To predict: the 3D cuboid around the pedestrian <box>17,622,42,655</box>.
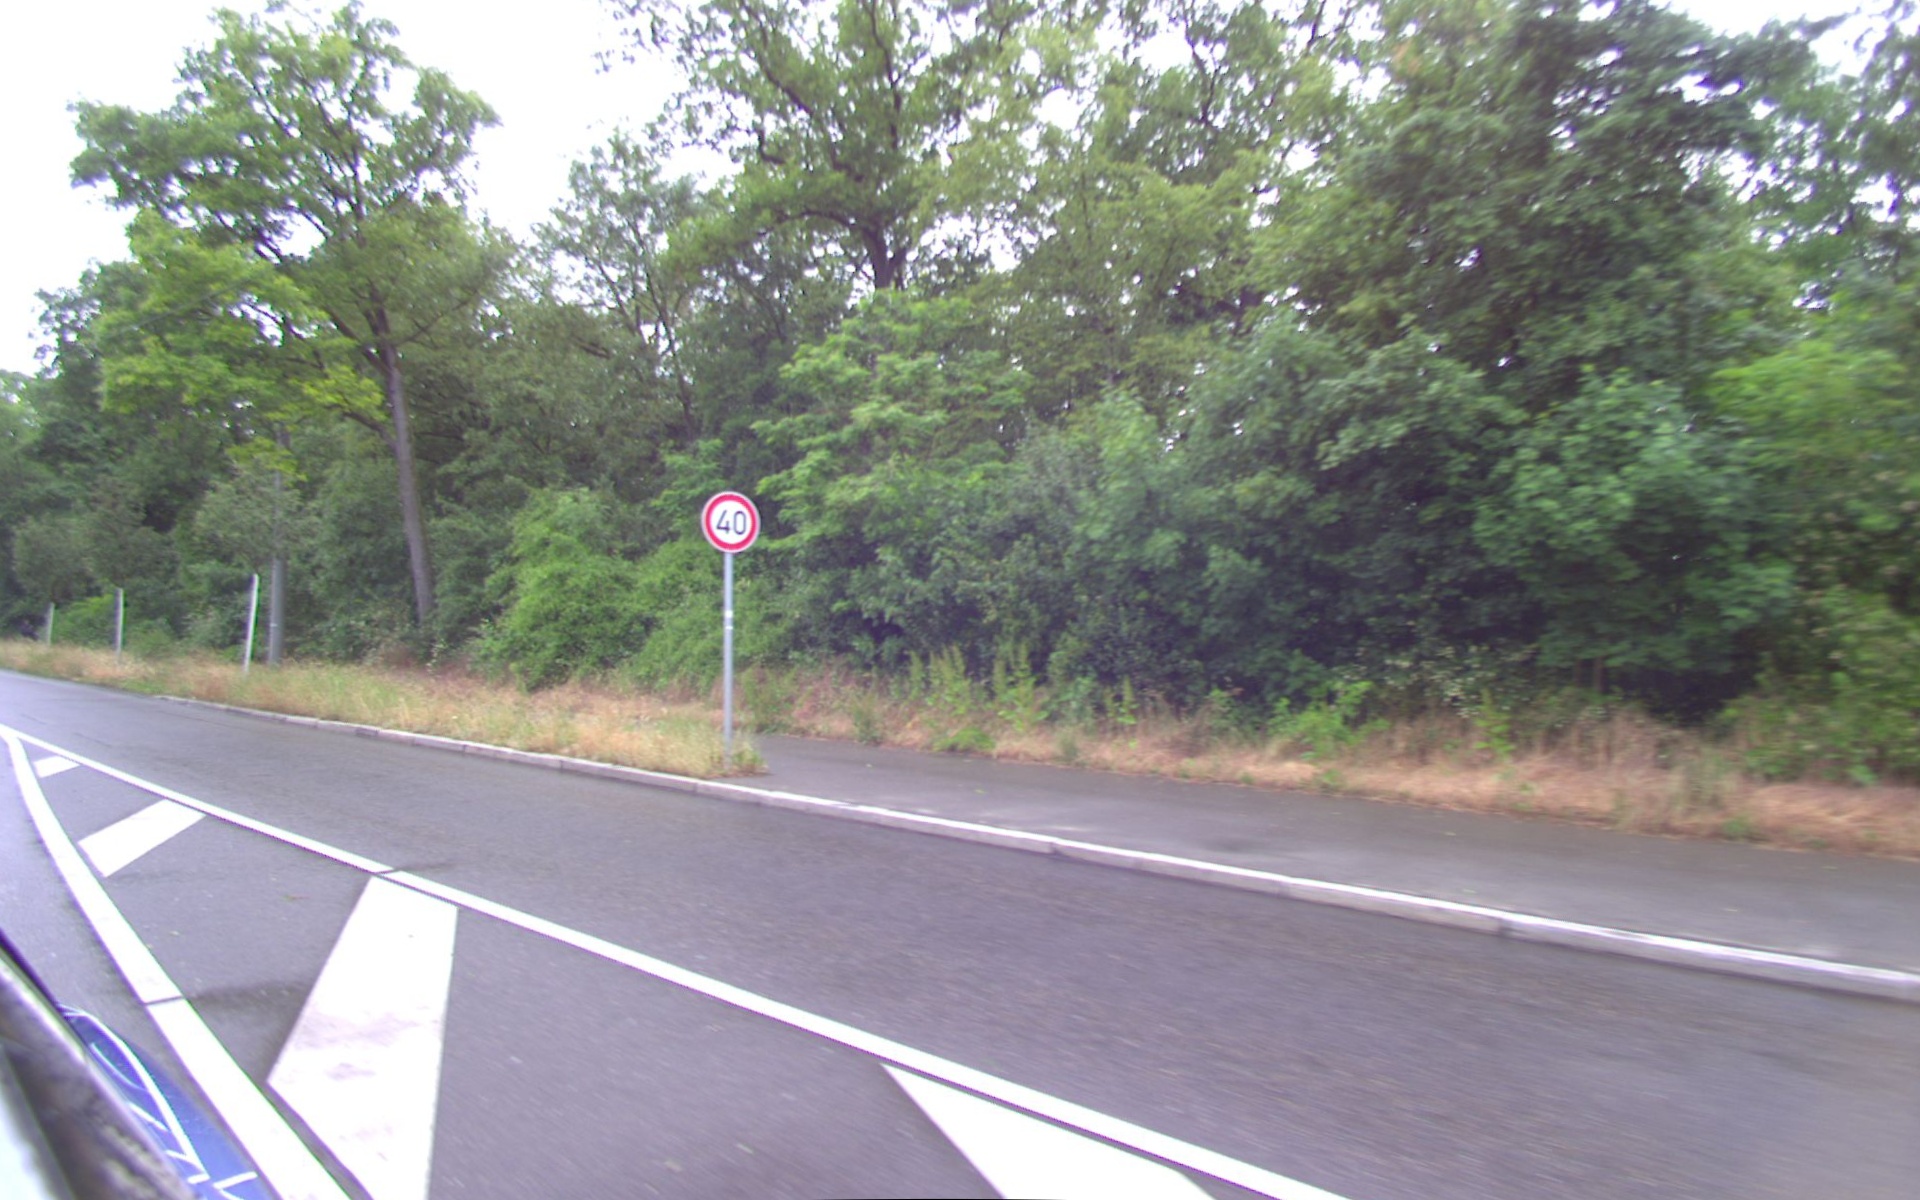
[{"bbox_3d":[-46.435,1.933,50.499,0.731,1.620,0.773,-1,-3,38],"label":"pedestrian"}]
